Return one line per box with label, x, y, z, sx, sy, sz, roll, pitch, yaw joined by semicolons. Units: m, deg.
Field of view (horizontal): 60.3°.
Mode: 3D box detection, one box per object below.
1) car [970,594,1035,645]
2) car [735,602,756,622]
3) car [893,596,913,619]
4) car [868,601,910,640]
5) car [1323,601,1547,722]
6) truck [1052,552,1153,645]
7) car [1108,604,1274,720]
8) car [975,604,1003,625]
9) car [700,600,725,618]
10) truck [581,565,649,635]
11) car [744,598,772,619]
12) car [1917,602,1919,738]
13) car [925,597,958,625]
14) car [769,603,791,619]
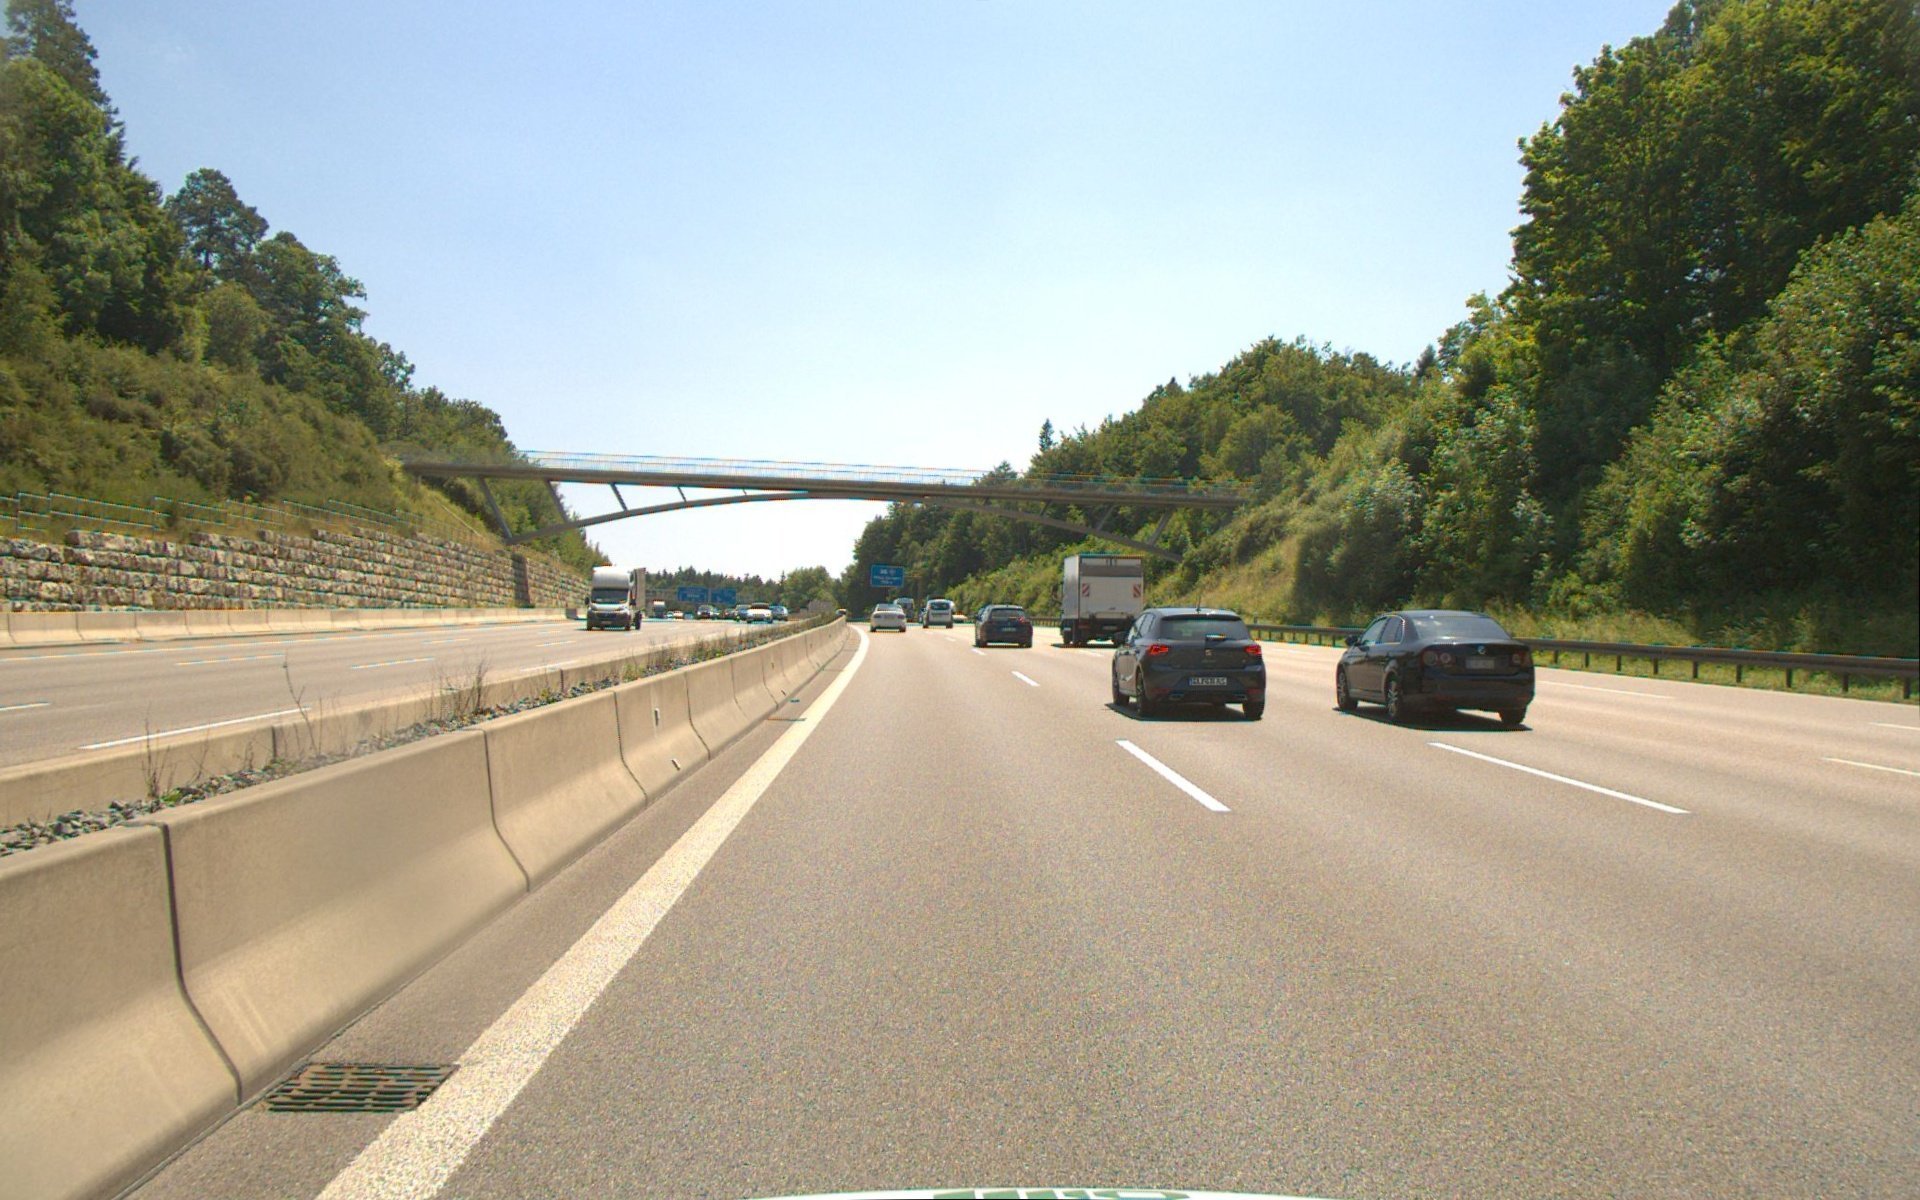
car;1.436;0.645;57.730;1.954;1.662;4.757;1;0;-3
car;-18.956;1.036;146.177;1.621;1.577;3.997;2;1;-4
car;-6.252;0.852;181.019;2.219;2.413;4.699;1;-1;-2
car;-3.797;1.129;88.006;1.973;1.878;3.994;1;-3;-6
car;6.355;0.756;22.720;1.631;1.433;4.902;1;0;0
truck;5.187;-0.069;61.515;2.925;3.222;7.573;1;0;-1
car;3.155;0.799;23.310;1.673;1.458;3.999;1;0;-2
car;2.392;1.180;136.140;1.954;1.620;3.997;2;-1;-4
car;-23.915;0.876;160.058;1.954;1.646;3.997;1;0;-3
truck;-16.832;-0.021;81.095;2.231;3.198;6.913;2;0;-4
car;-15.586;0.656;127.625;1.863;1.522;4.801;1;0;-4
car;11.212;0.760;15.775;1.513;1.469;4.338;1;0;-3
car;-1.180;0.718;108.079;2.060;1.775;4.687;1;0;0
car;-18.022;1.091;166.013;1.954;1.646;3.997;1;0;-3
